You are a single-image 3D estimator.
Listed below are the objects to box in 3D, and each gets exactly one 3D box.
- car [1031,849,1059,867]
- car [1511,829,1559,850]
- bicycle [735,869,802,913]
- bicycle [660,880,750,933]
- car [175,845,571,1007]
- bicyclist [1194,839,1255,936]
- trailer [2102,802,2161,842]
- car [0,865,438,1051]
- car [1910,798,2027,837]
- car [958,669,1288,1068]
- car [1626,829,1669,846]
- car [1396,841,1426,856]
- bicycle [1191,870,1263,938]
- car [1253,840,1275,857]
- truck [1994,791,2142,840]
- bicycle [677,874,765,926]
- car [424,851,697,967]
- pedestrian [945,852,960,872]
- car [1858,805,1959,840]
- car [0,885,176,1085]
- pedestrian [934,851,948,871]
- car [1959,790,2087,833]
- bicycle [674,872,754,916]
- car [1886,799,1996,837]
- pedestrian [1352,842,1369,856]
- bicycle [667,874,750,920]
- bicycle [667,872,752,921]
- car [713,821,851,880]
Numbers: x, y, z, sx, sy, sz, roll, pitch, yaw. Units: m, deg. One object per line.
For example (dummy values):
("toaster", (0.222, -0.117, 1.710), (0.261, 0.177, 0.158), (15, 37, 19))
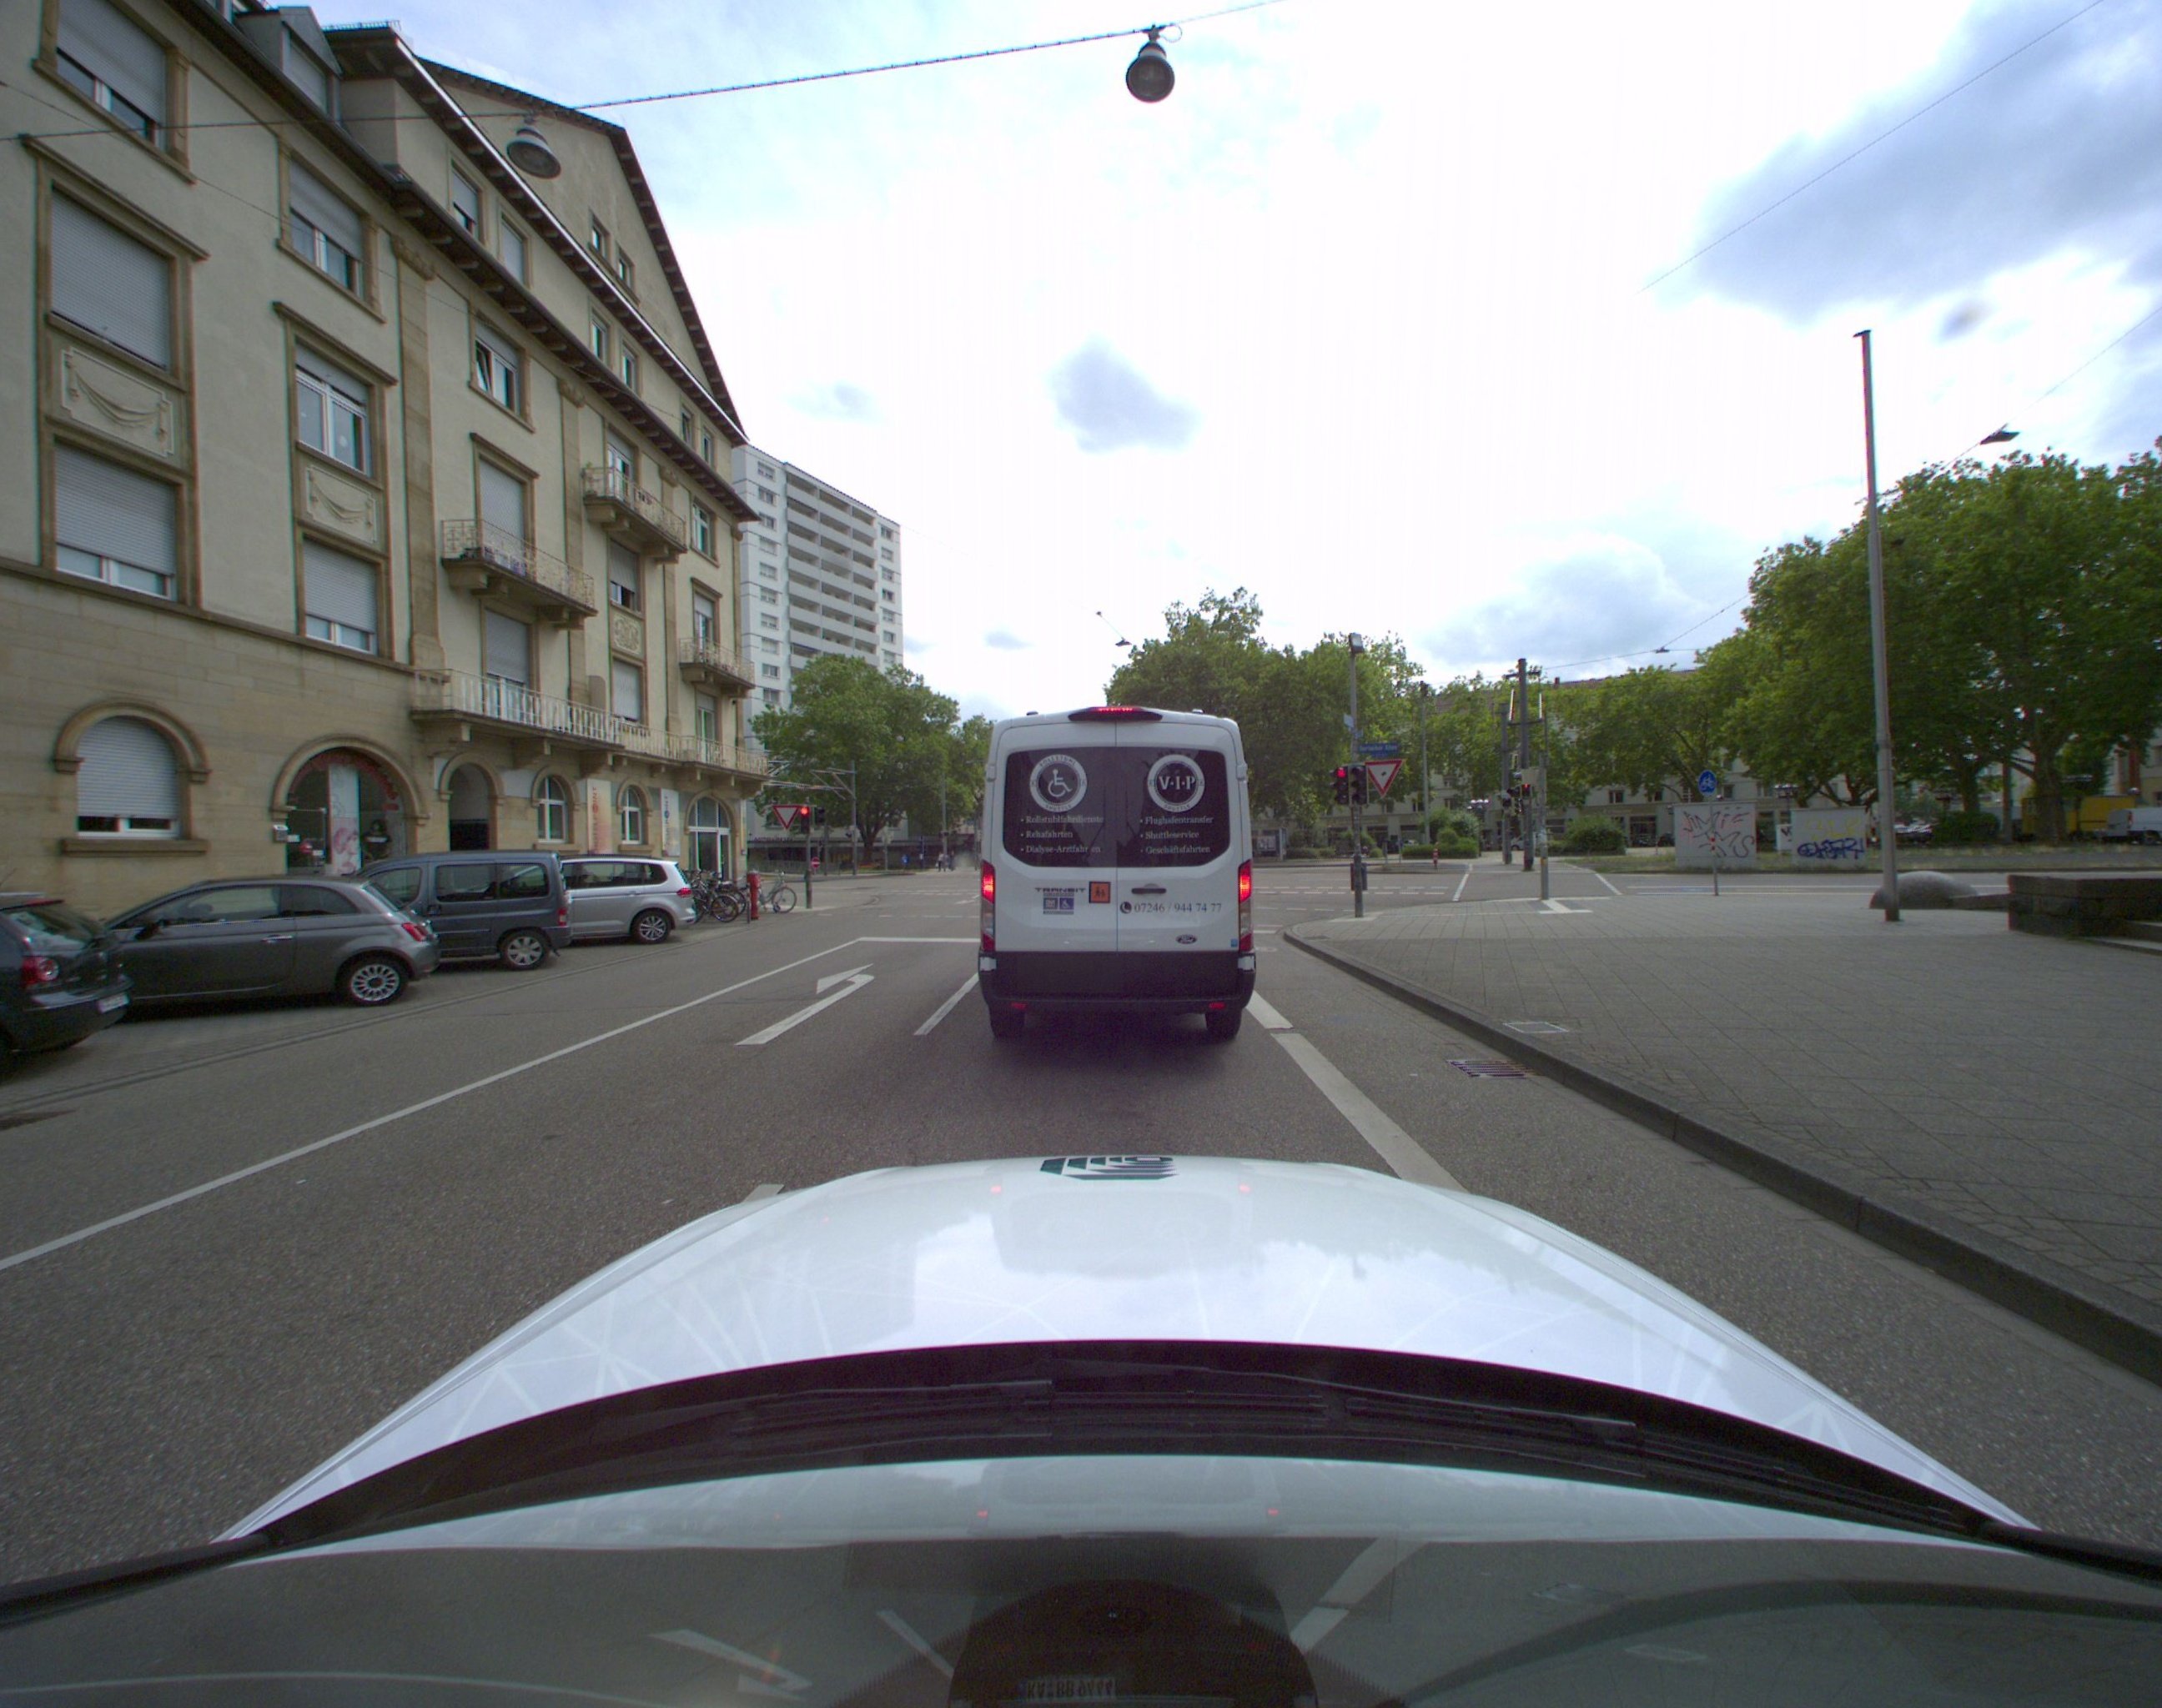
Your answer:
("car", (-3.134, 0.331, 72.161), (1.611, 1.476, 4.011), (-2, 1, 9))
("car", (44.306, -1.383, 79.578), (3.950, 1.883, 1.868), (-2, 0, 26))
("bicycle", (-8.621, 1.009, 22.467), (1.859, 1.167, 0.500), (0, 0, 22))
("bicycle", (-8.591, 1.198, 18.628), (1.799, 1.120, 0.595), (-2, 0, 8))
("car", (-9.881, 0.870, 11.802), (4.031, 1.878, 1.776), (-2, 0, -37))
("bicyclist", (2.571, 0.585, 14.685), (0.901, 1.683, 0.756), (-2, 0, -2))
("trailer", (55.498, -1.667, 41.220), (4.381, 1.925, 1.865), (-2, 0, 26))
("car", (-9.875, 1.028, 9.181), (4.031, 1.651, 1.776), (-2, 0, -37))
("car", (65.685, -2.656, 60.421), (5.271, 2.585, 2.512), (-2, -1, 24))
("car", (0.308, 0.056, 7.774), (2.174, 2.647, 4.629), (-1, 1, 0))
("car", (55.863, -1.596, 80.350), (1.757, 1.503, 4.008), (-2, 0, 7))
("car", (36.169, -0.615, 89.351), (1.983, 1.503, 4.008), (-2, 0, 6))
("bicycle", (2.591, 0.864, 14.710), (0.900, 1.075, 1.969), (-2, 0, -1))
("car", (21.551, -0.636, 96.068), (1.983, 1.930, 4.008), (-2, 0, 6))
("truck", (58.225, -2.196, 48.310), (3.042, 2.577, 6.549), (-2, 0, 25))
("bicycle", (-8.522, 1.075, 19.298), (1.800, 1.120, 0.595), (2, 0, 5))
("car", (-9.524, 0.896, 15.106), (4.031, 1.773, 1.776), (-2, 0, -37))
("pedestrian", (-10.266, 0.651, 65.292), (0.922, 1.514, 0.727), (-2, 0, 16))
("car", (68.861, -2.593, 67.896), (5.271, 2.585, 2.512), (-2, -1, 24))
("car", (-9.887, 1.064, 6.014), (3.919, 1.443, 1.818), (-2, 0, -34))
("pedestrian", (-11.260, 0.556, 65.404), (0.801, 1.572, 0.727), (-2, 0, 16))
("car", (64.491, -2.835, 55.908), (5.271, 2.585, 2.192), (-2, -1, 24))
("bicycle", (-9.621, 1.051, 21.371), (1.807, 1.120, 0.593), (0, 0, -6))
("car", (66.624, -2.726, 63.239), (5.271, 2.585, 2.512), (-2, -1, 24))
("pedestrian", (24.637, -0.433, 71.819), (1.086, 1.236, 1.443), (-4, -1, 6))
("bicycle", (-9.441, 1.078, 20.669), (1.807, 1.120, 0.593), (0, 0, -6))
("bicycle", (-9.127, 1.040, 20.051), (1.807, 1.166, 0.593), (0, 0, -6))
("car", (-21.790, -0.190, 59.174), (9.793, 3.915, 3.476), (-2, 0, 26))
